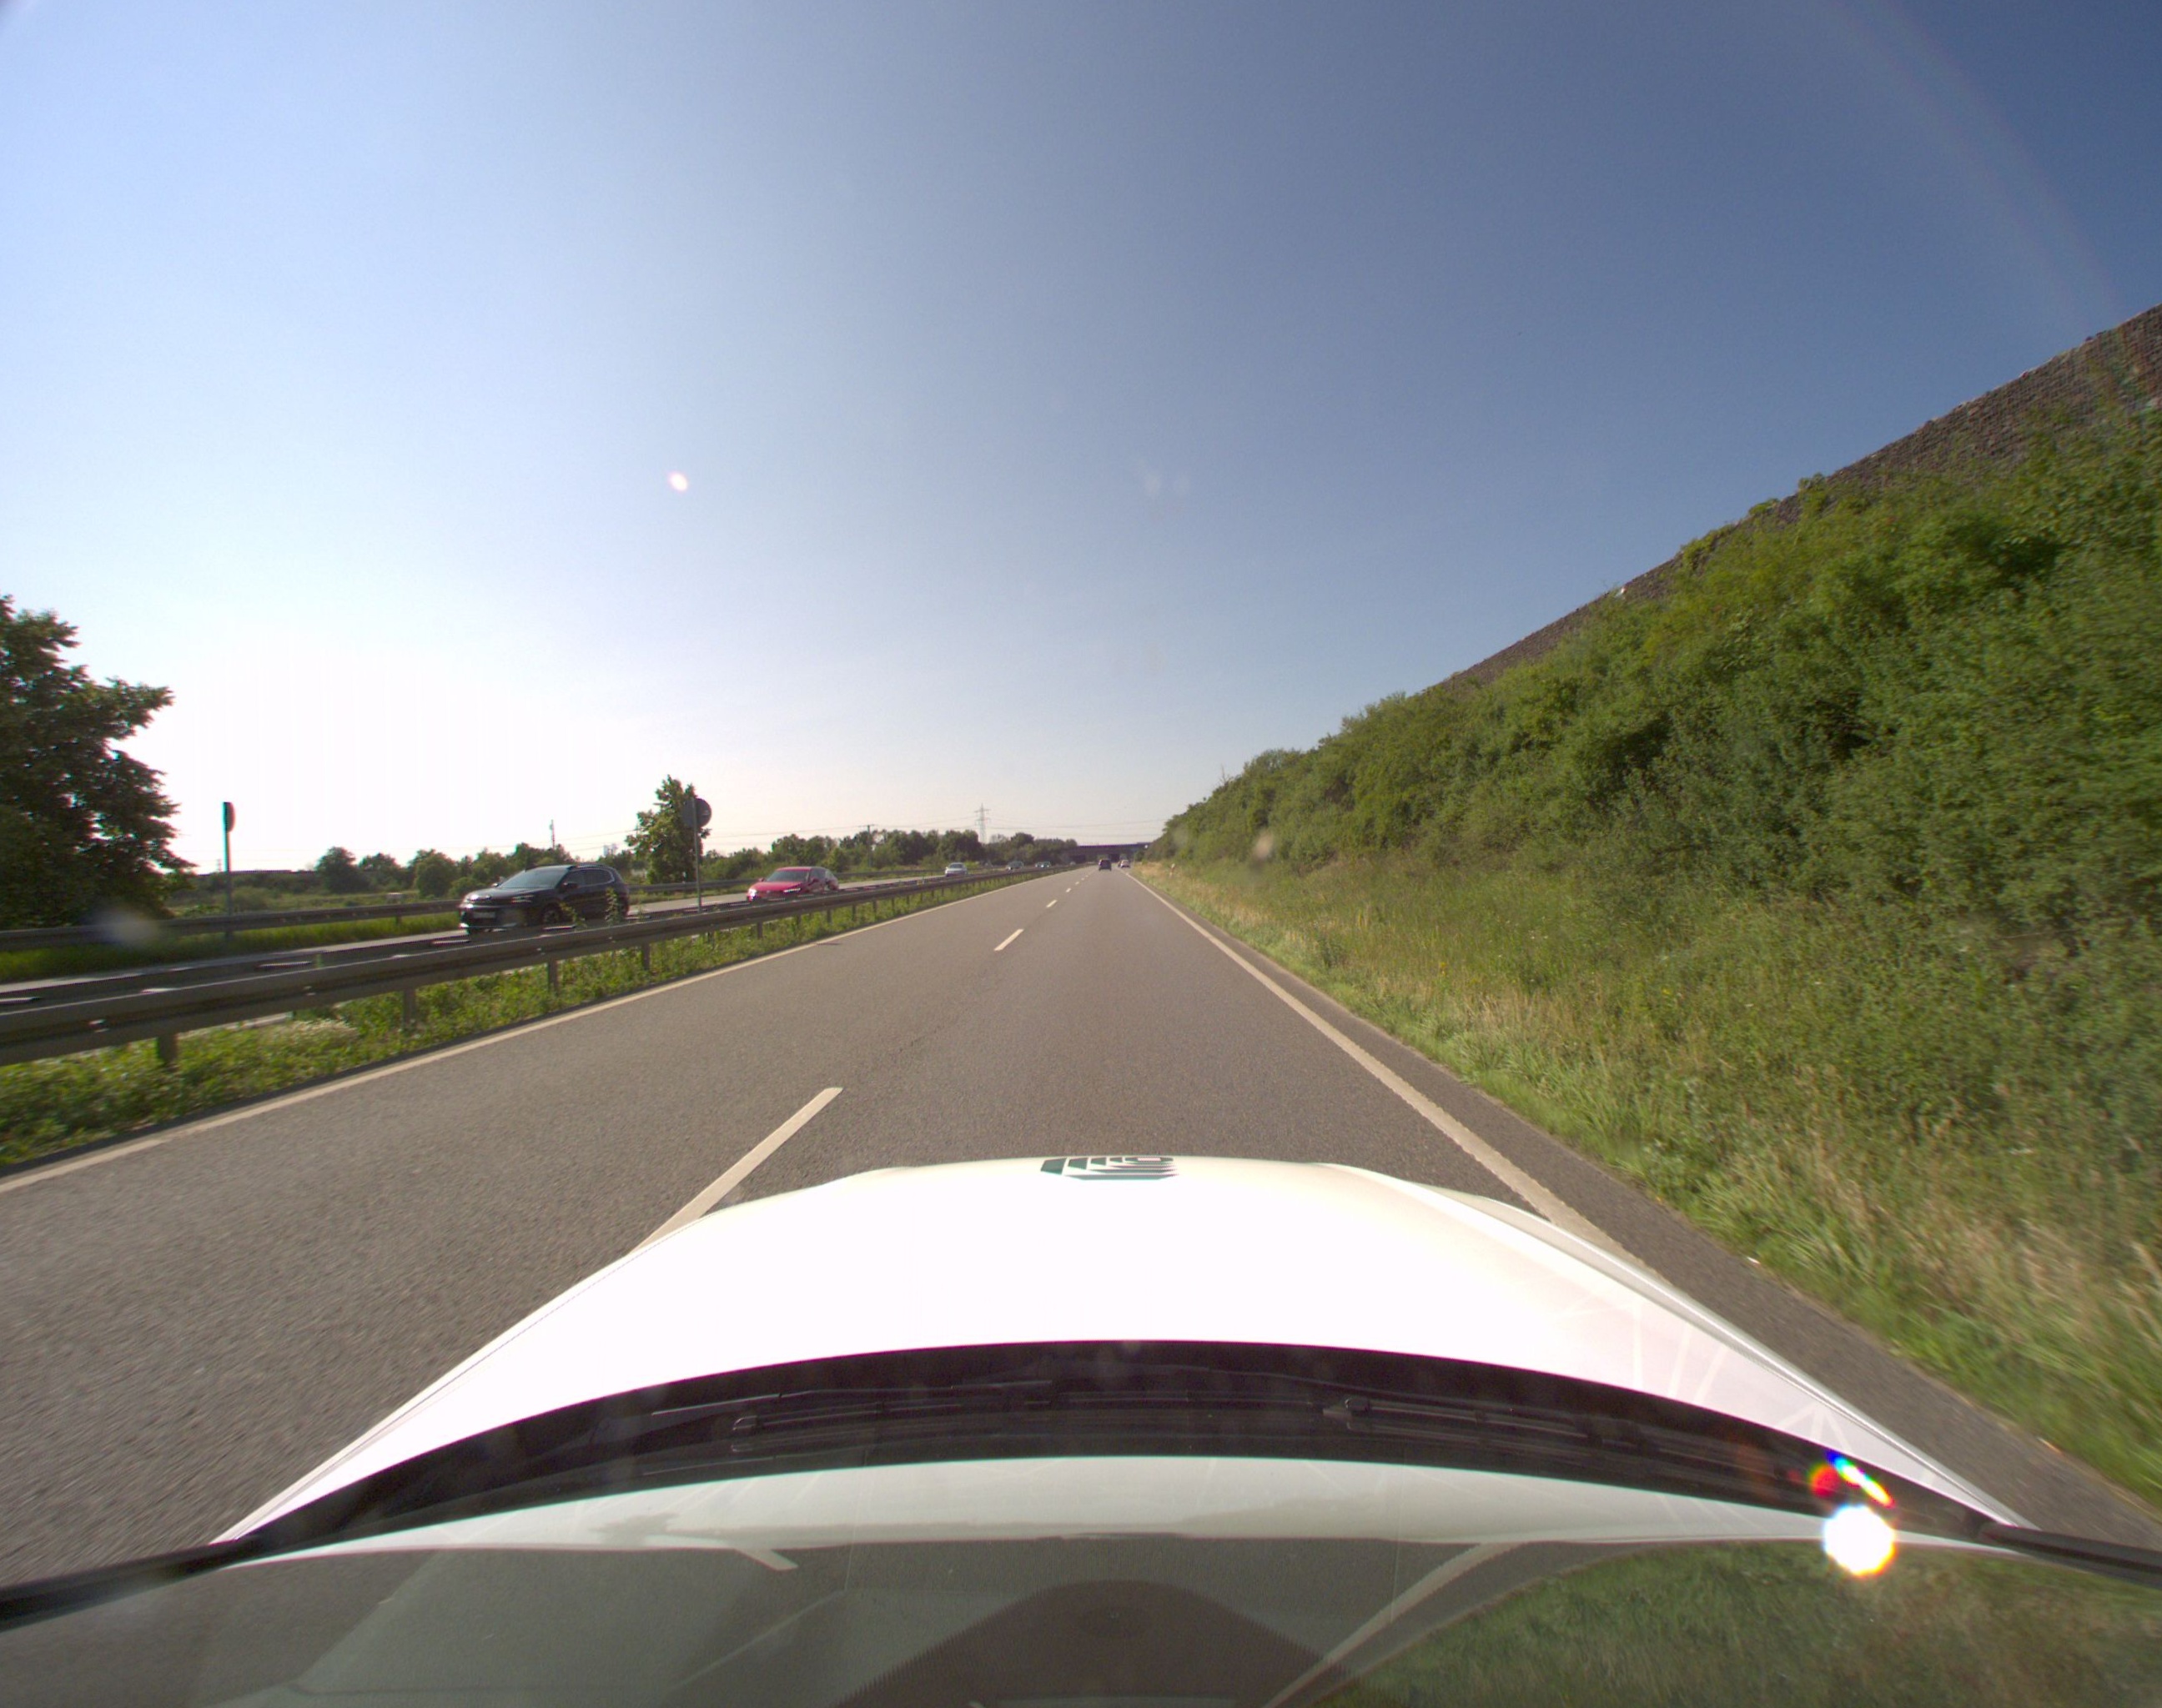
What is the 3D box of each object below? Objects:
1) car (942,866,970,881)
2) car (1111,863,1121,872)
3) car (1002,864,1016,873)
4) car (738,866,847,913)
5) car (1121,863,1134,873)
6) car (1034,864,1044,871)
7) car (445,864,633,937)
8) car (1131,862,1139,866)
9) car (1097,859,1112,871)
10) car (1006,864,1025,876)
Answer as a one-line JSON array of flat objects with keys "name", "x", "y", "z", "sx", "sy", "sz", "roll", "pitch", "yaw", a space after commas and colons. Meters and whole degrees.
[{"name": "car", "x": -12.043, "y": 1.883, "z": 78.627, "sx": 1.814, "sy": 1.396, "sz": 4.417, "roll": 1, "pitch": -1, "yaw": 2}, {"name": "car", "x": 7.980, "y": 3.068, "z": 186.718, "sx": 1.986, "sy": 2.013, "sz": 4.001, "roll": -3, "pitch": -1, "yaw": 2}, {"name": "car", "x": -11.469, "y": 2.328, "z": 129.570, "sx": 1.707, "sy": 1.450, "sz": 4.323, "roll": -1, "pitch": -1, "yaw": 0}, {"name": "car", "x": -9.942, "y": 1.166, "z": 28.582, "sx": 1.869, "sy": 1.493, "sz": 5.097, "roll": -1, "pitch": -1, "yaw": 2}, {"name": "car", "x": 8.586, "y": 2.592, "z": 149.789, "sx": 1.785, "sy": 1.665, "sz": 4.011, "roll": 1, "pitch": 0, "yaw": 10}, {"name": "car", "x": -9.547, "y": 3.057, "z": 185.026, "sx": 1.808, "sy": 1.473, "sz": 4.325, "roll": 0, "pitch": 0, "yaw": 2}, {"name": "car", "x": -13.198, "y": 1.059, "z": 20.190, "sx": 1.719, "sy": 1.595, "sz": 4.222, "roll": 0, "pitch": -1, "yaw": 2}, {"name": "car", "x": 16.538, "y": 3.103, "z": 248.115, "sx": 1.888, "sy": 1.298, "sz": 4.014, "roll": 1, "pitch": 0, "yaw": 13}, {"name": "car", "x": 3.352, "y": 1.594, "z": 114.199, "sx": 1.841, "sy": 1.644, "sz": 4.005, "roll": -1, "pitch": -1, "yaw": 4}, {"name": "car", "x": -7.858, "y": 1.903, "z": 97.572, "sx": 1.706, "sy": 1.470, "sz": 4.417, "roll": 1, "pitch": -1, "yaw": 2}]
